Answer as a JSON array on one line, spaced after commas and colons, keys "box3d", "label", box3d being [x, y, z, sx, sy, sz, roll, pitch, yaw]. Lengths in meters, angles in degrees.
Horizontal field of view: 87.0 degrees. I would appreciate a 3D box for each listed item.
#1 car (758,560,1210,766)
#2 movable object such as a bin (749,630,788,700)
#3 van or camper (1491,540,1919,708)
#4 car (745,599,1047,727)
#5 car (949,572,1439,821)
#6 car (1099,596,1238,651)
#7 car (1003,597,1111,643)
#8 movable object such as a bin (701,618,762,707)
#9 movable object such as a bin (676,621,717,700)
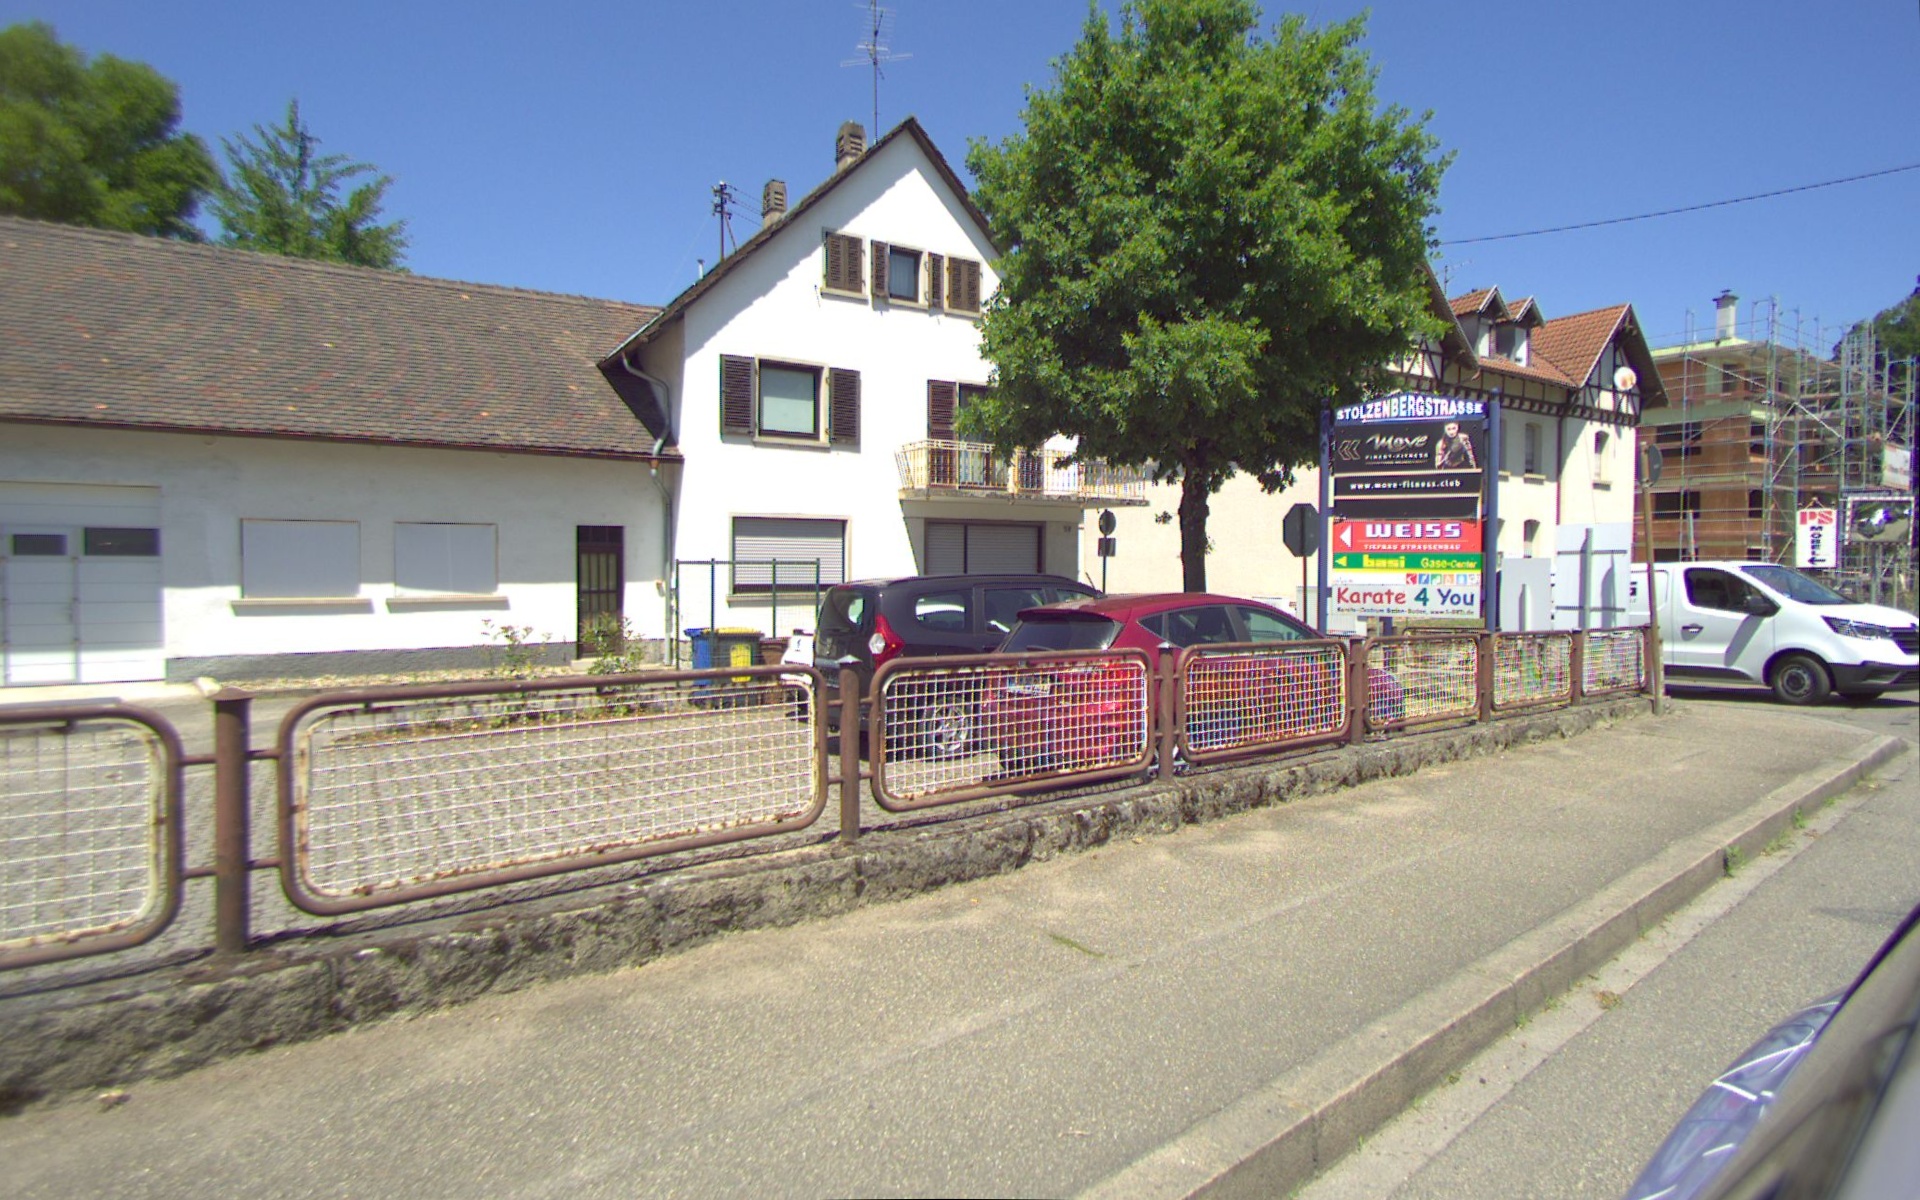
[{"box3d": [0.358, 0.483, 10.216, 4.374, 1.686, 1.718, -1, 0, -34], "label": "car"}, {"box3d": [-2.513, 0.847, 13.267, 0.378, 0.865, 0.398, -1, 2, -33], "label": "movable object such as a bin"}, {"box3d": [10.953, 0.249, 14.857, 1.960, 2.003, 5.368, -3, 1, -29], "label": "van or camper"}, {"box3d": [-0.762, 0.677, 12.496, 3.319, 1.286, 1.718, -1, 2, -34], "label": "car"}, {"box3d": [1.957, 0.564, 8.131, 3.766, 1.542, 1.718, -1, 2, -34], "label": "car"}, {"box3d": [6.028, 0.638, 29.608, 1.780, 1.462, 3.898, -1, 0, -32], "label": "car"}, {"box3d": [3.206, 0.640, 34.134, 1.780, 1.462, 3.630, -1, 0, -32], "label": "car"}, {"box3d": [-2.916, 0.785, 12.897, 0.627, 1.060, 0.492, -1, 2, -33], "label": "movable object such as a bin"}, {"box3d": [-3.478, 0.784, 13.353, 0.408, 0.981, 0.453, -1, 2, -33], "label": "movable object such as a bin"}]
